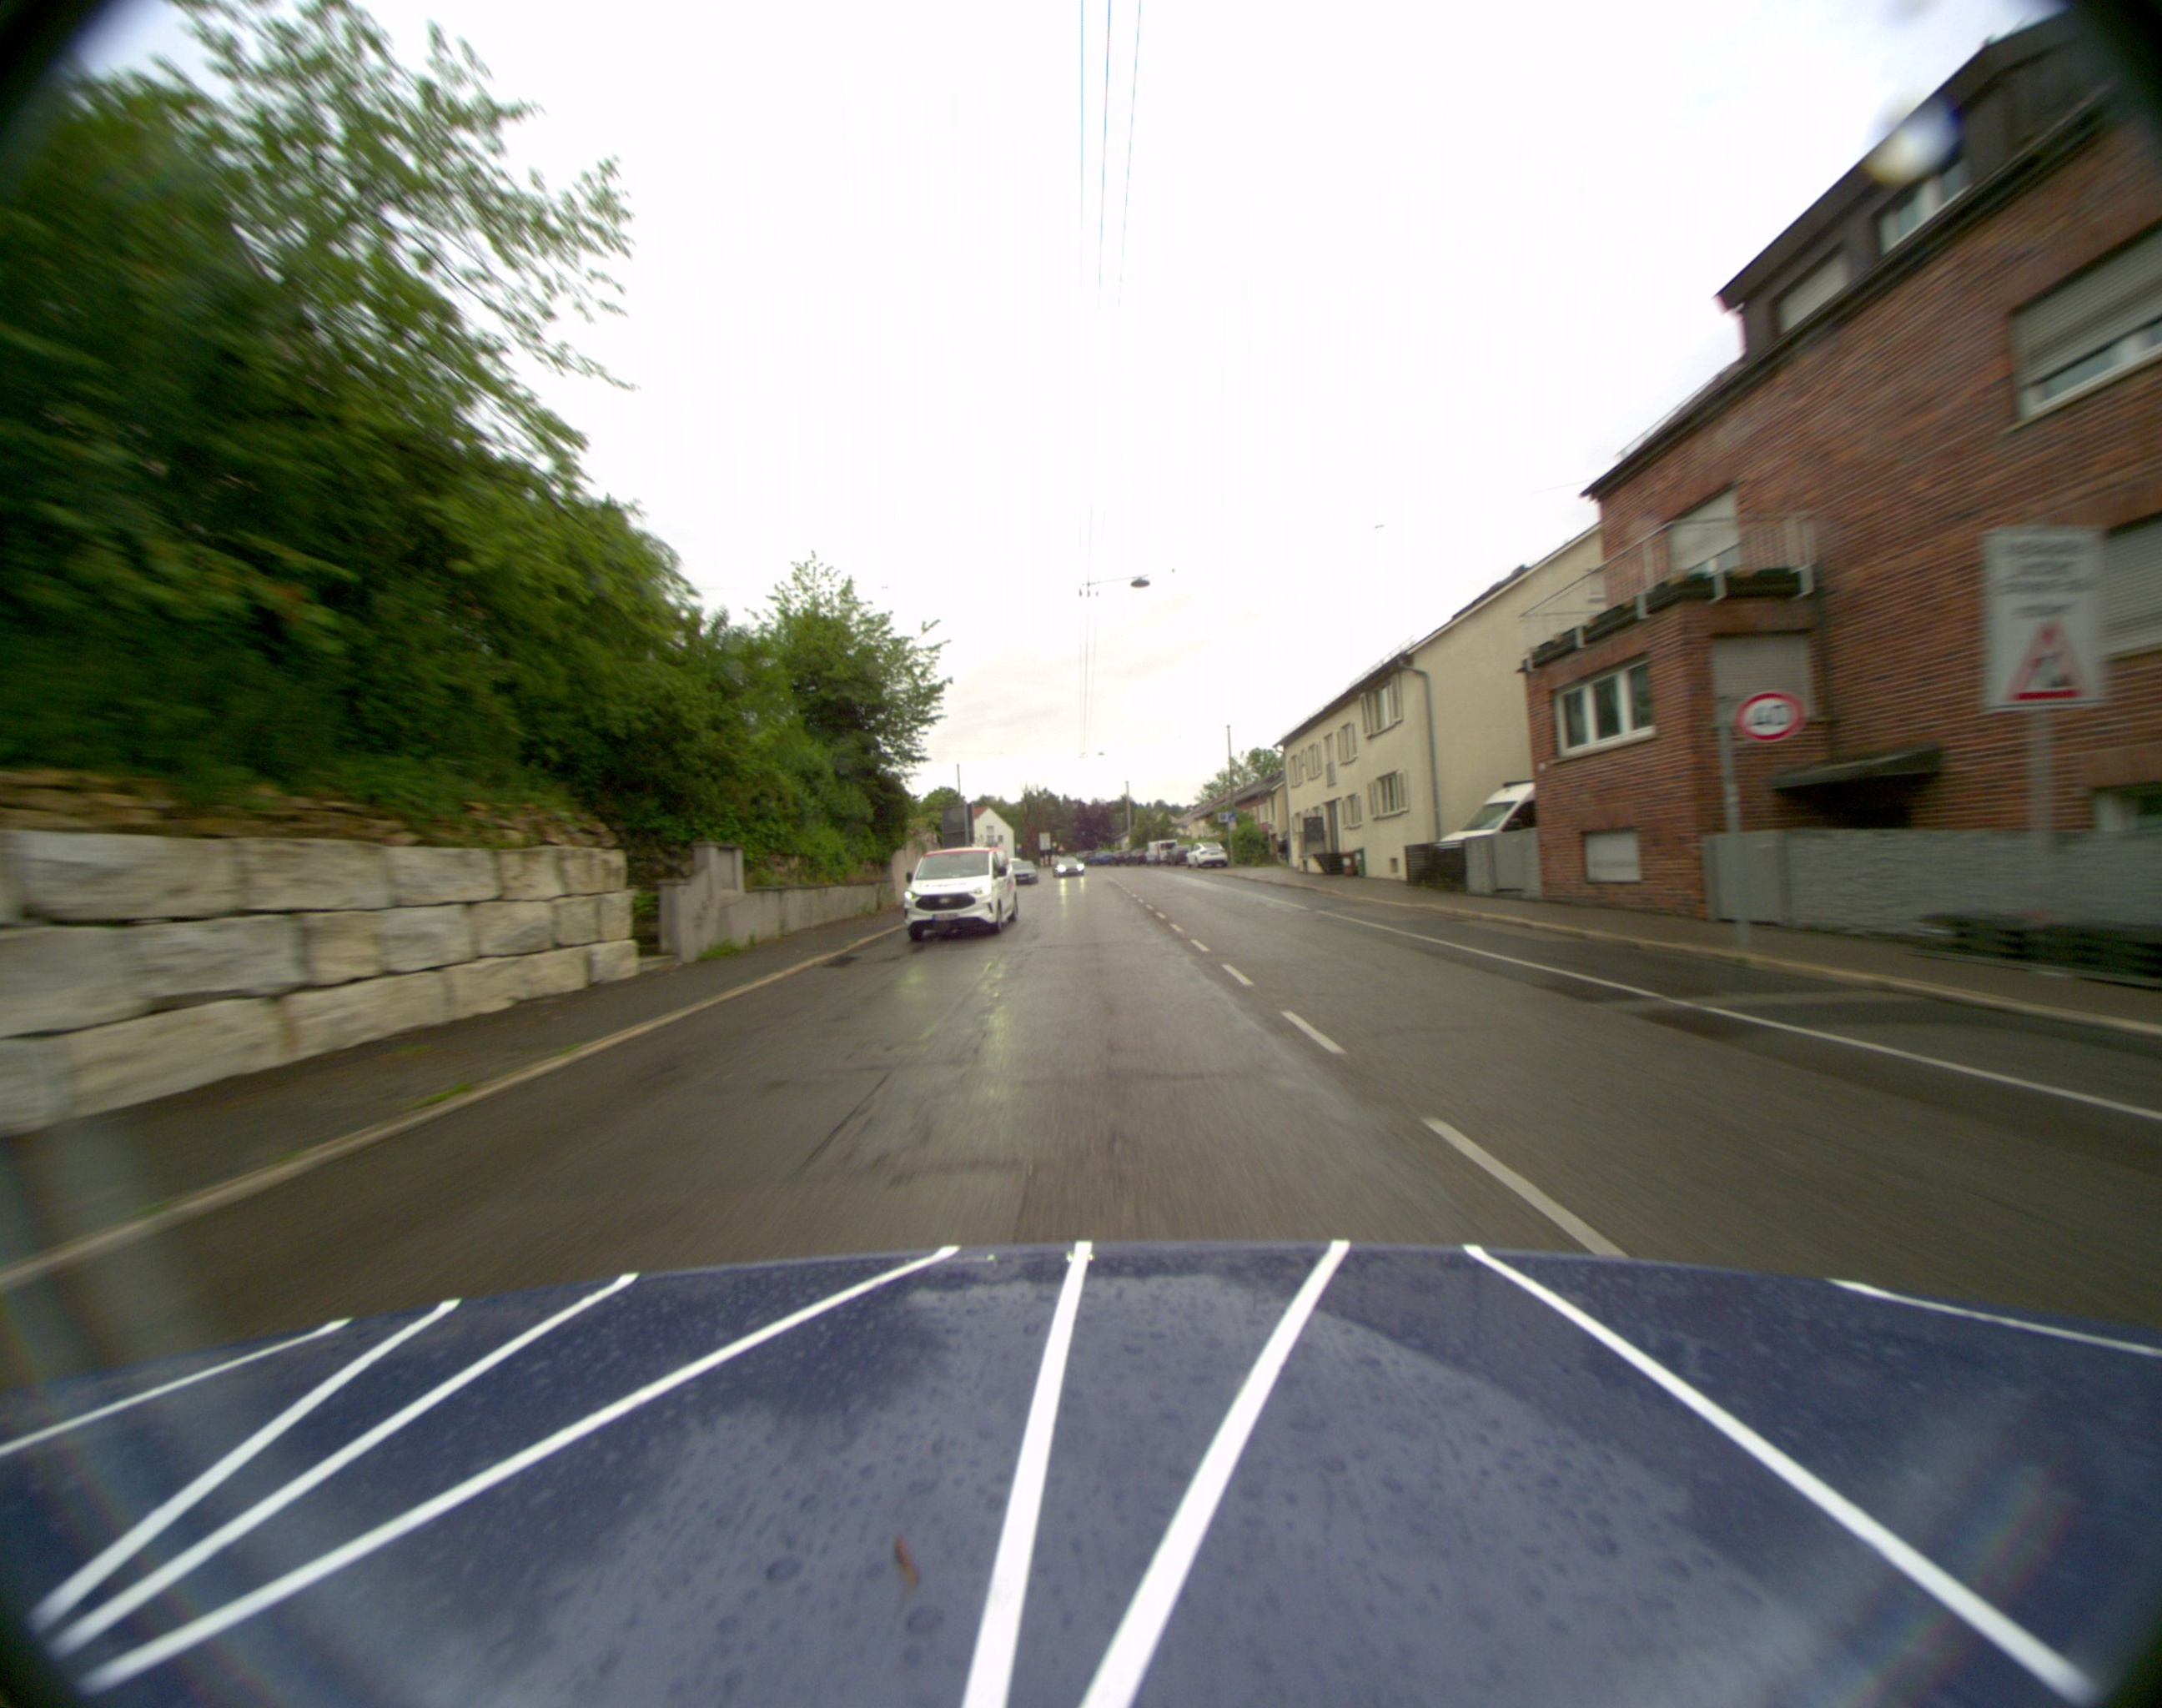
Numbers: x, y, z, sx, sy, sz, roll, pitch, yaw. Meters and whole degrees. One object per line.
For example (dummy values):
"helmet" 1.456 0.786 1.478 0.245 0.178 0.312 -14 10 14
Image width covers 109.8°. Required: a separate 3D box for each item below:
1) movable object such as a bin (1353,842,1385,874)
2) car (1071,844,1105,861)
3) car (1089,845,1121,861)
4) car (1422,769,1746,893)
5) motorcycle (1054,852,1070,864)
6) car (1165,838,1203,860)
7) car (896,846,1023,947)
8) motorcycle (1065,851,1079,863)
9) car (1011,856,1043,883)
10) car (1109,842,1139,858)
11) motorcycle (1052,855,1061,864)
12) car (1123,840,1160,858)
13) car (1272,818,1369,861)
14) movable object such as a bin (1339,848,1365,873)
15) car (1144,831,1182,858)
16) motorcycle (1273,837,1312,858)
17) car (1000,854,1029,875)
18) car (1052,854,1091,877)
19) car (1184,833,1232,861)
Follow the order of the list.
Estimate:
"movable object such as a bin" 10.062 0.135 26.583 0.783 1.041 0.738 -4 1 1
"car" 0.713 -0.130 84.621 1.930 1.568 4.379 -5 1 -25
"car" 2.462 -0.118 79.804 1.706 1.396 4.466 -5 0 -21
"car" 12.549 -0.574 19.298 6.670 2.539 2.167 -4 2 1
"motorcycle" -2.324 0.509 91.056 1.809 1.272 0.510 -4 1 -27
"car" 7.734 -0.406 57.477 1.813 1.468 4.520 -4 1 -4
"car" -2.667 0.853 17.817 2.041 1.928 4.515 -4 0 1
"motorcycle" -1.059 0.320 88.638 0.574 1.264 1.909 -4 1 32
"car" -3.468 0.946 49.275 1.794 1.487 4.704 -4 1 -2
"car" 4.176 -0.382 74.630 1.814 1.468 4.518 -4 1 -11
"motorcycle" -3.042 0.659 92.586 0.511 1.133 1.919 -1 -1 -20
"car" 5.444 -0.430 68.901 1.814 1.468 4.517 -5 1 -14
"car" 12.917 -0.740 41.143 4.500 2.001 1.888 -3 -1 -3
"movable object such as a bin" 10.096 0.230 28.333 0.675 0.854 0.708 -4 1 1
"car" 6.823 -0.742 63.714 1.854 2.067 5.017 -4 1 -8
"motorcycle" 13.005 -0.390 46.763 2.098 1.128 0.839 -4 3 4
"car" -5.724 0.893 65.350 1.809 1.639 4.205 -4 0 -13
"car" -0.779 0.844 57.980 2.166 1.487 4.701 -4 1 -9
"car" 8.197 -0.451 49.388 1.934 1.622 4.675 -4 1 -3
